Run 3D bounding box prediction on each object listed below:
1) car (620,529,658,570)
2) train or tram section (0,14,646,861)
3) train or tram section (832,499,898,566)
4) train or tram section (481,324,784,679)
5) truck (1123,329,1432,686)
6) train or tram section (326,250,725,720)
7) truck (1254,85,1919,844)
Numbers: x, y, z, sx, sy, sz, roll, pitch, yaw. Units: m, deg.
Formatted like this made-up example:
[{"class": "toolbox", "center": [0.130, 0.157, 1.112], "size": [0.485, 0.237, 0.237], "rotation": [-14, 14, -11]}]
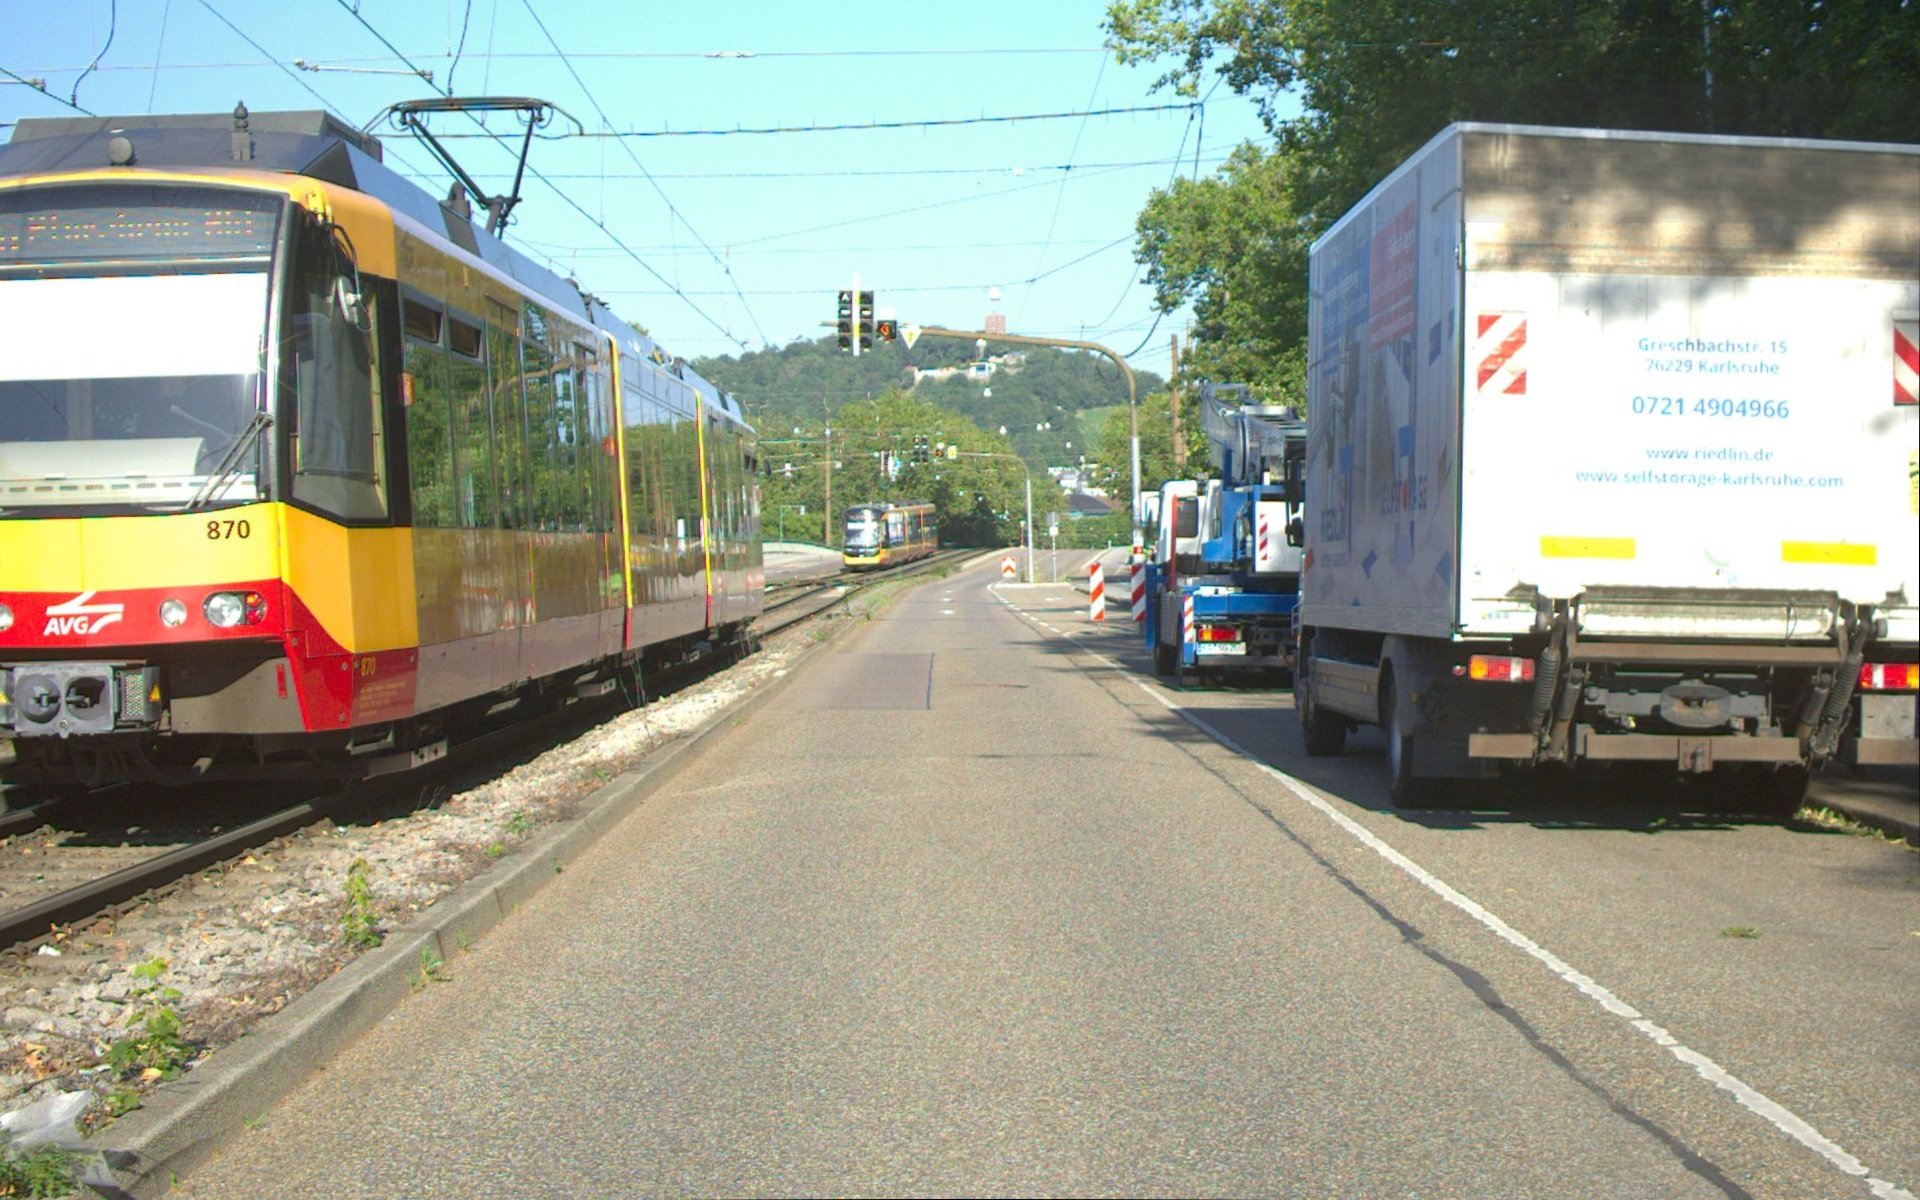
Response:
[{"class": "car", "center": [-15.921, -2.493, 170.777], "size": [1.723, 2.007, 4.000], "rotation": [0, 0, -3]}, {"class": "train or tram section", "center": [-4.238, -0.891, 23.573], "size": [2.721, 4.077, 13.616], "rotation": [-2, 1, 0]}, {"class": "train or tram section", "center": [-5.273, -3.741, 191.893], "size": [2.644, 3.554, 10.831], "rotation": [-2, 1, 4]}, {"class": "train or tram section", "center": [-4.164, -1.262, 46.657], "size": [2.719, 4.075, 12.813], "rotation": [-2, 1, 0]}, {"class": "truck", "center": [3.619, -1.061, 41.558], "size": [2.717, 3.770, 9.762], "rotation": [1, 1, 0]}, {"class": "train or tram section", "center": [-4.176, -1.095, 35.312], "size": [2.694, 4.075, 9.911], "rotation": [-2, 1, 0]}, {"class": "truck", "center": [3.768, -0.755, 22.286], "size": [2.742, 3.770, 10.090], "rotation": [1, 1, 0]}]
